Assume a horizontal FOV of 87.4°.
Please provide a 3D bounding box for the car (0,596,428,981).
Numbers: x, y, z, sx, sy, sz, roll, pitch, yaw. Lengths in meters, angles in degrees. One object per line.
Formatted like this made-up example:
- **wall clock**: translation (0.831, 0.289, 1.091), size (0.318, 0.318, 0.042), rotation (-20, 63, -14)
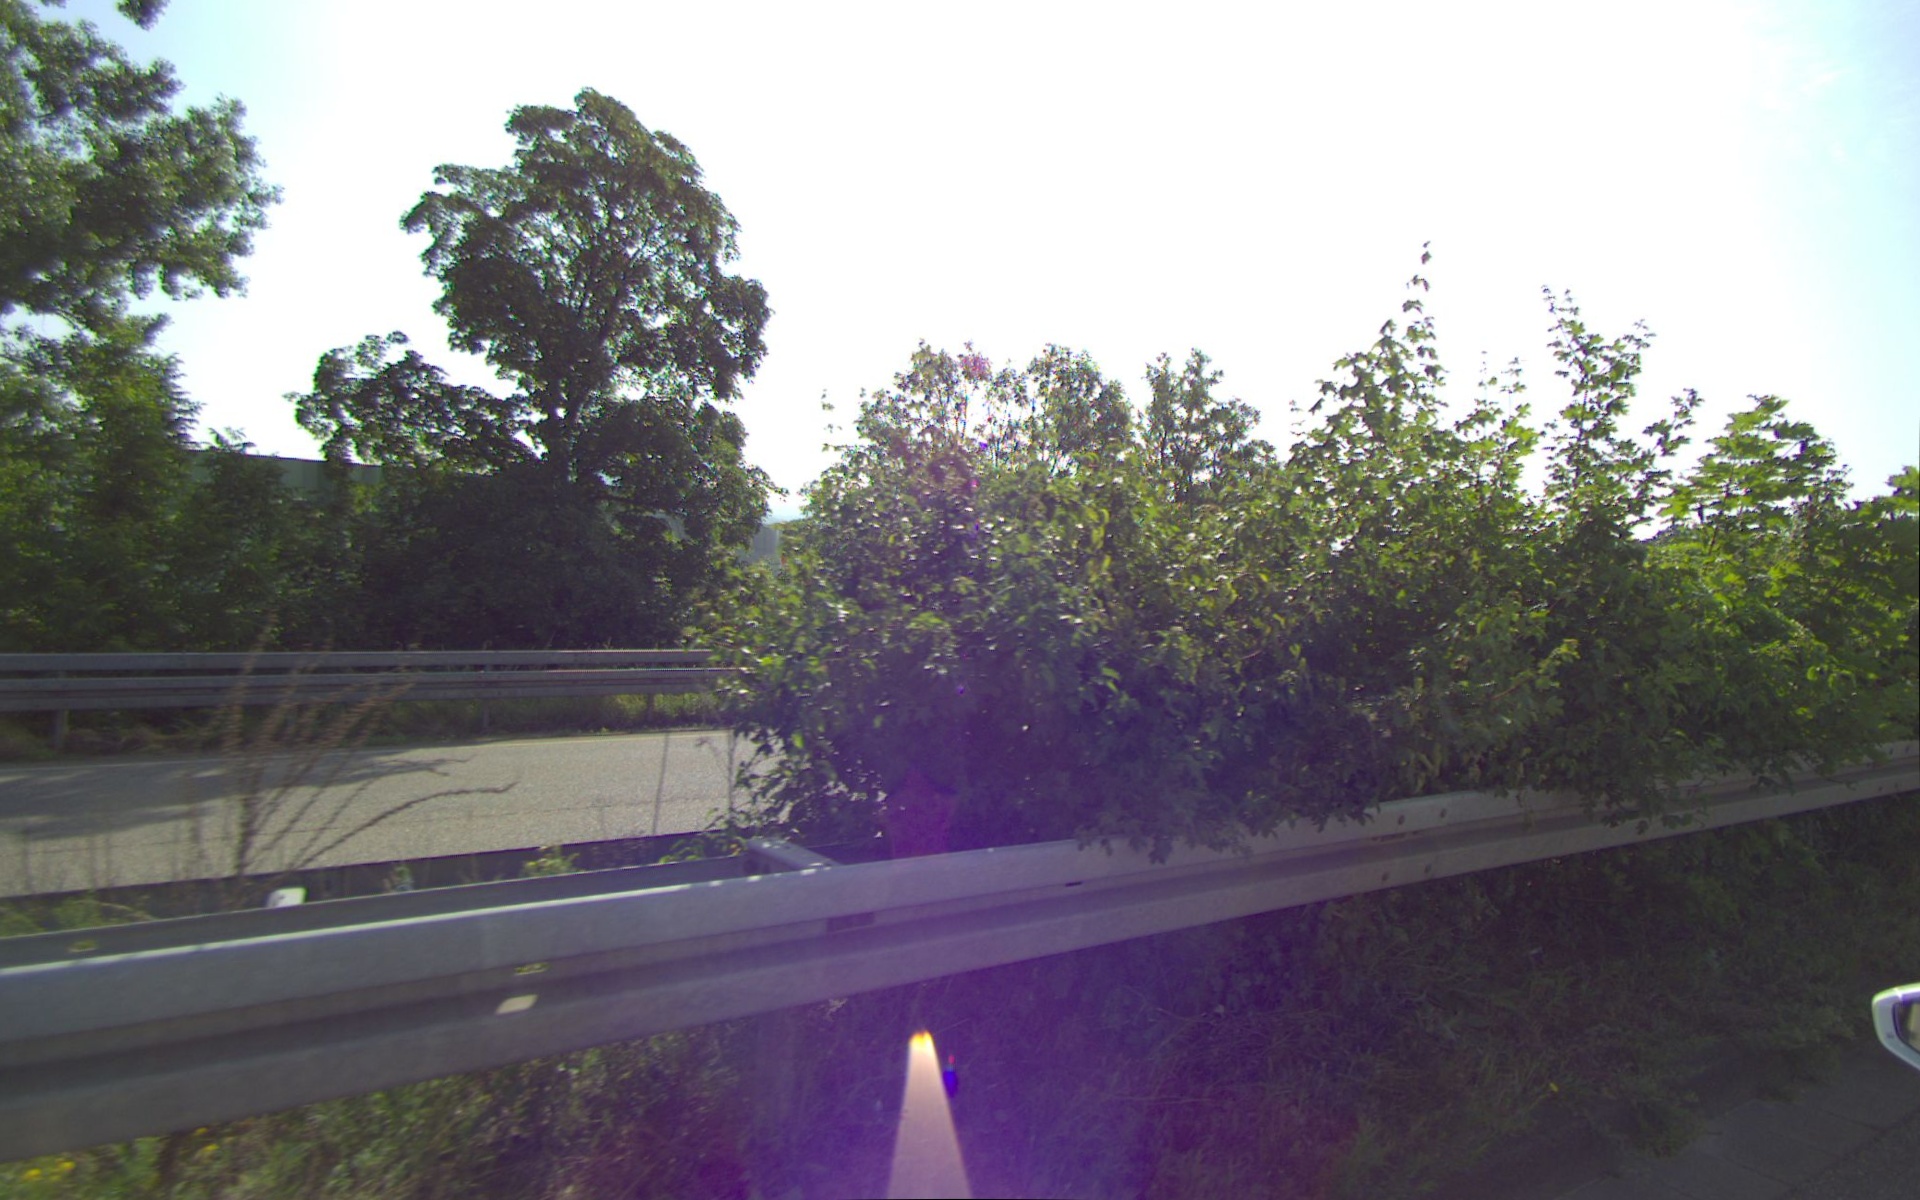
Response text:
- **car**: translation (-4.881, 0.788, 4.741), size (4.154, 1.615, 1.755), rotation (1, -1, -29)
